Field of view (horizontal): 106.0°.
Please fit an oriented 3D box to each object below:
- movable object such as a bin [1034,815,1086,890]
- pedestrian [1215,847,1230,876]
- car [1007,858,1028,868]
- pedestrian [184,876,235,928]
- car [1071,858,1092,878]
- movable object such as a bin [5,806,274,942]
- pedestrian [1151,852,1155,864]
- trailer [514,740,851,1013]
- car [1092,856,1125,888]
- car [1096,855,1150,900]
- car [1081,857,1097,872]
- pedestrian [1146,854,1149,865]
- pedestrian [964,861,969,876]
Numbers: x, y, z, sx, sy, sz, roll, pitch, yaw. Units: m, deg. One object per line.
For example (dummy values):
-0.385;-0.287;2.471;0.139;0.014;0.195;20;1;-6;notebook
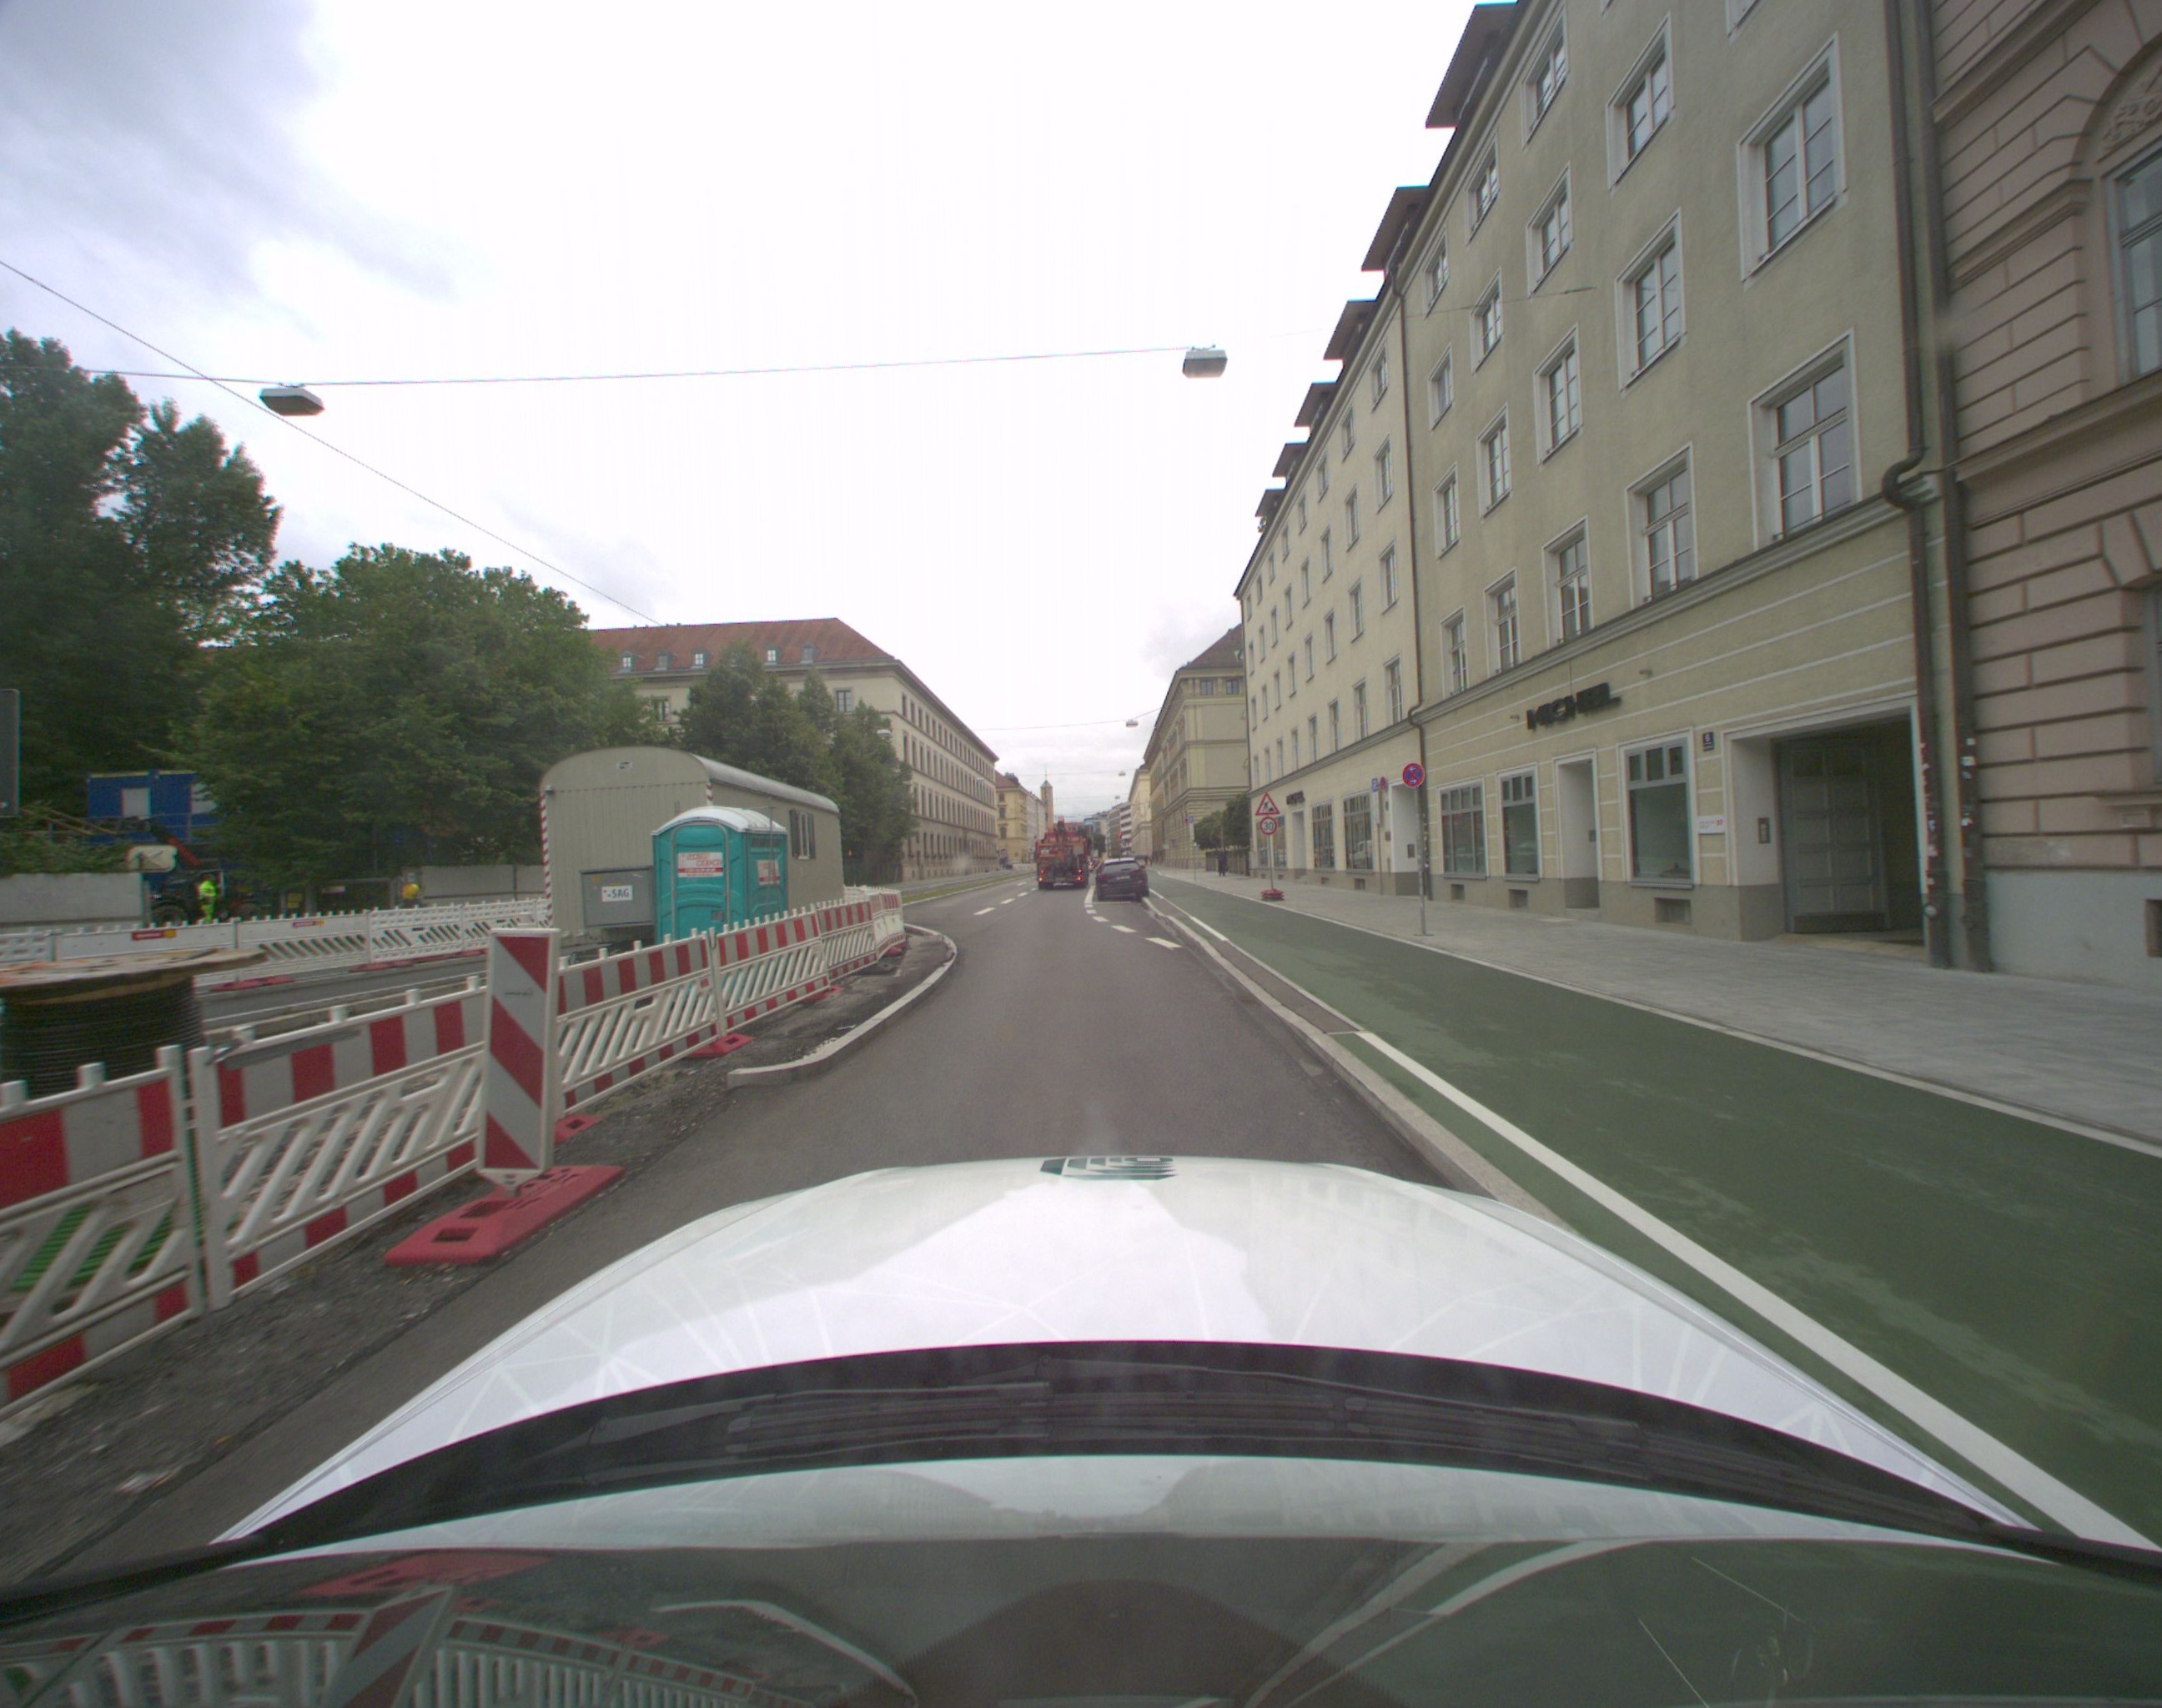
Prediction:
-1.026;-0.047;42.761;2.415;3.611;5.851;-2;0;0;movable object such as a bin
9.228;0.478;53.105;0.787;1.836;0.777;-2;0;2;pedestrian
-12.901;1.857;165.557;3.970;1.948;2.002;-3;0;3;car
-26.549;1.442;24.810;0.678;1.535;0.787;-1;0;1;pedestrian
0.066;1.114;66.942;1.604;1.495;3.425;-3;0;1;car
-28.003;0.539;24.595;1.986;3.629;5.181;-1;0;1;movable object such as a bin
11.045;0.668;124.633;0.444;1.836;0.556;-2;-1;3;pedestrian
-5.936;0.287;13.731;2.222;3.243;7.510;-2;0;-3;trailer
1.419;0.916;42.675;1.604;1.495;3.425;-3;0;1;car
1.512;0.838;30.710;1.796;1.480;4.687;-3;0;1;car
0.888;1.155;89.575;1.604;1.495;3.425;-3;0;1;car
10.172;0.789;124.629;0.336;1.672;0.440;-2;-1;3;pedestrian
-15.053;1.896;106.954;0.587;1.831;0.499;-1;0;0;pedestrian
